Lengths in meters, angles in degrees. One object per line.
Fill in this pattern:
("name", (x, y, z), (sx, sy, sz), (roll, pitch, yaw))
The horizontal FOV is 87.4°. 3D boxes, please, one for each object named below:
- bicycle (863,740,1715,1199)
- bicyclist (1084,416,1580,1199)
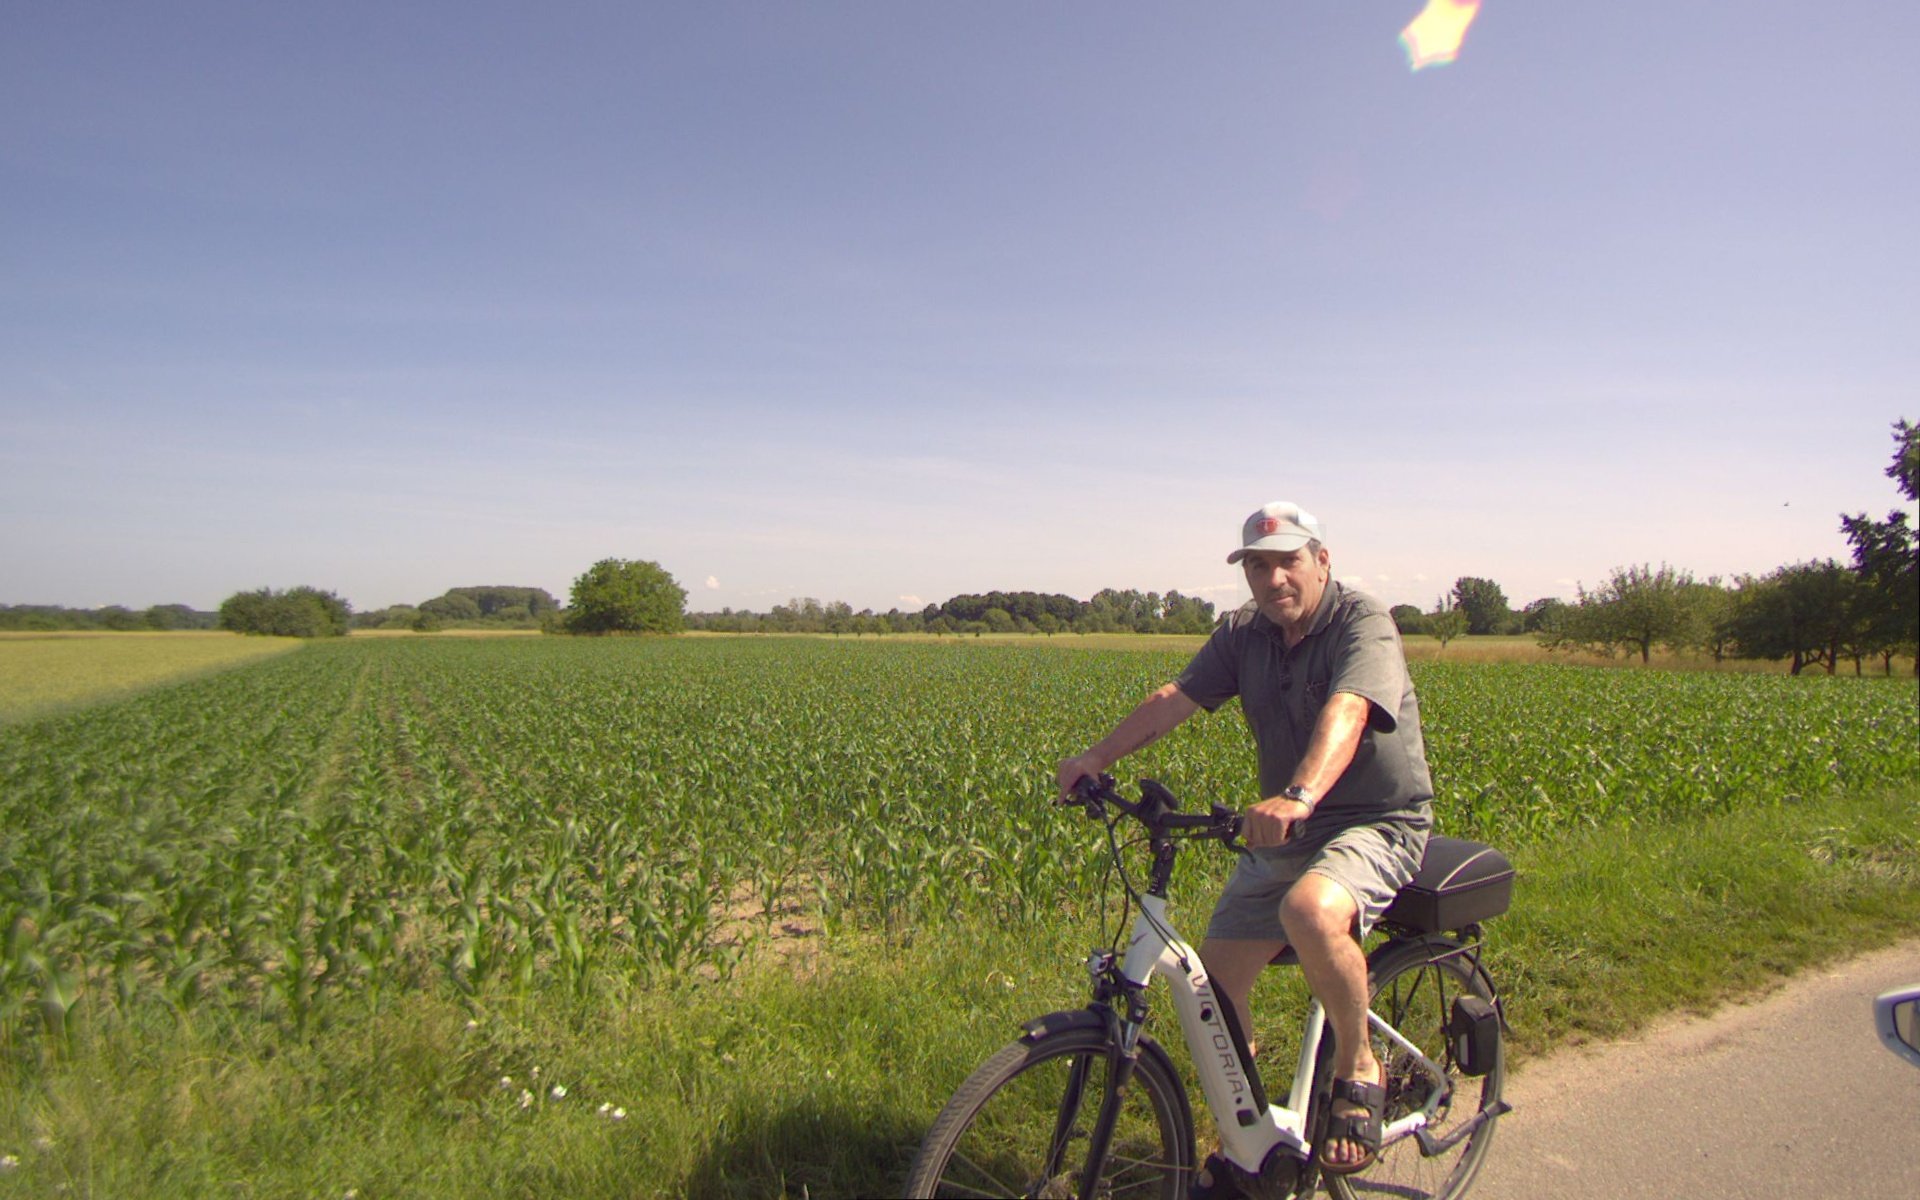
("bicycle", (0.793, 0.956, 2.241), (1.886, 1.142, 0.747), (2, -3, -31))
("bicyclist", (0.793, 0.607, 2.252), (0.708, 1.814, 0.747), (1, -3, -30))
